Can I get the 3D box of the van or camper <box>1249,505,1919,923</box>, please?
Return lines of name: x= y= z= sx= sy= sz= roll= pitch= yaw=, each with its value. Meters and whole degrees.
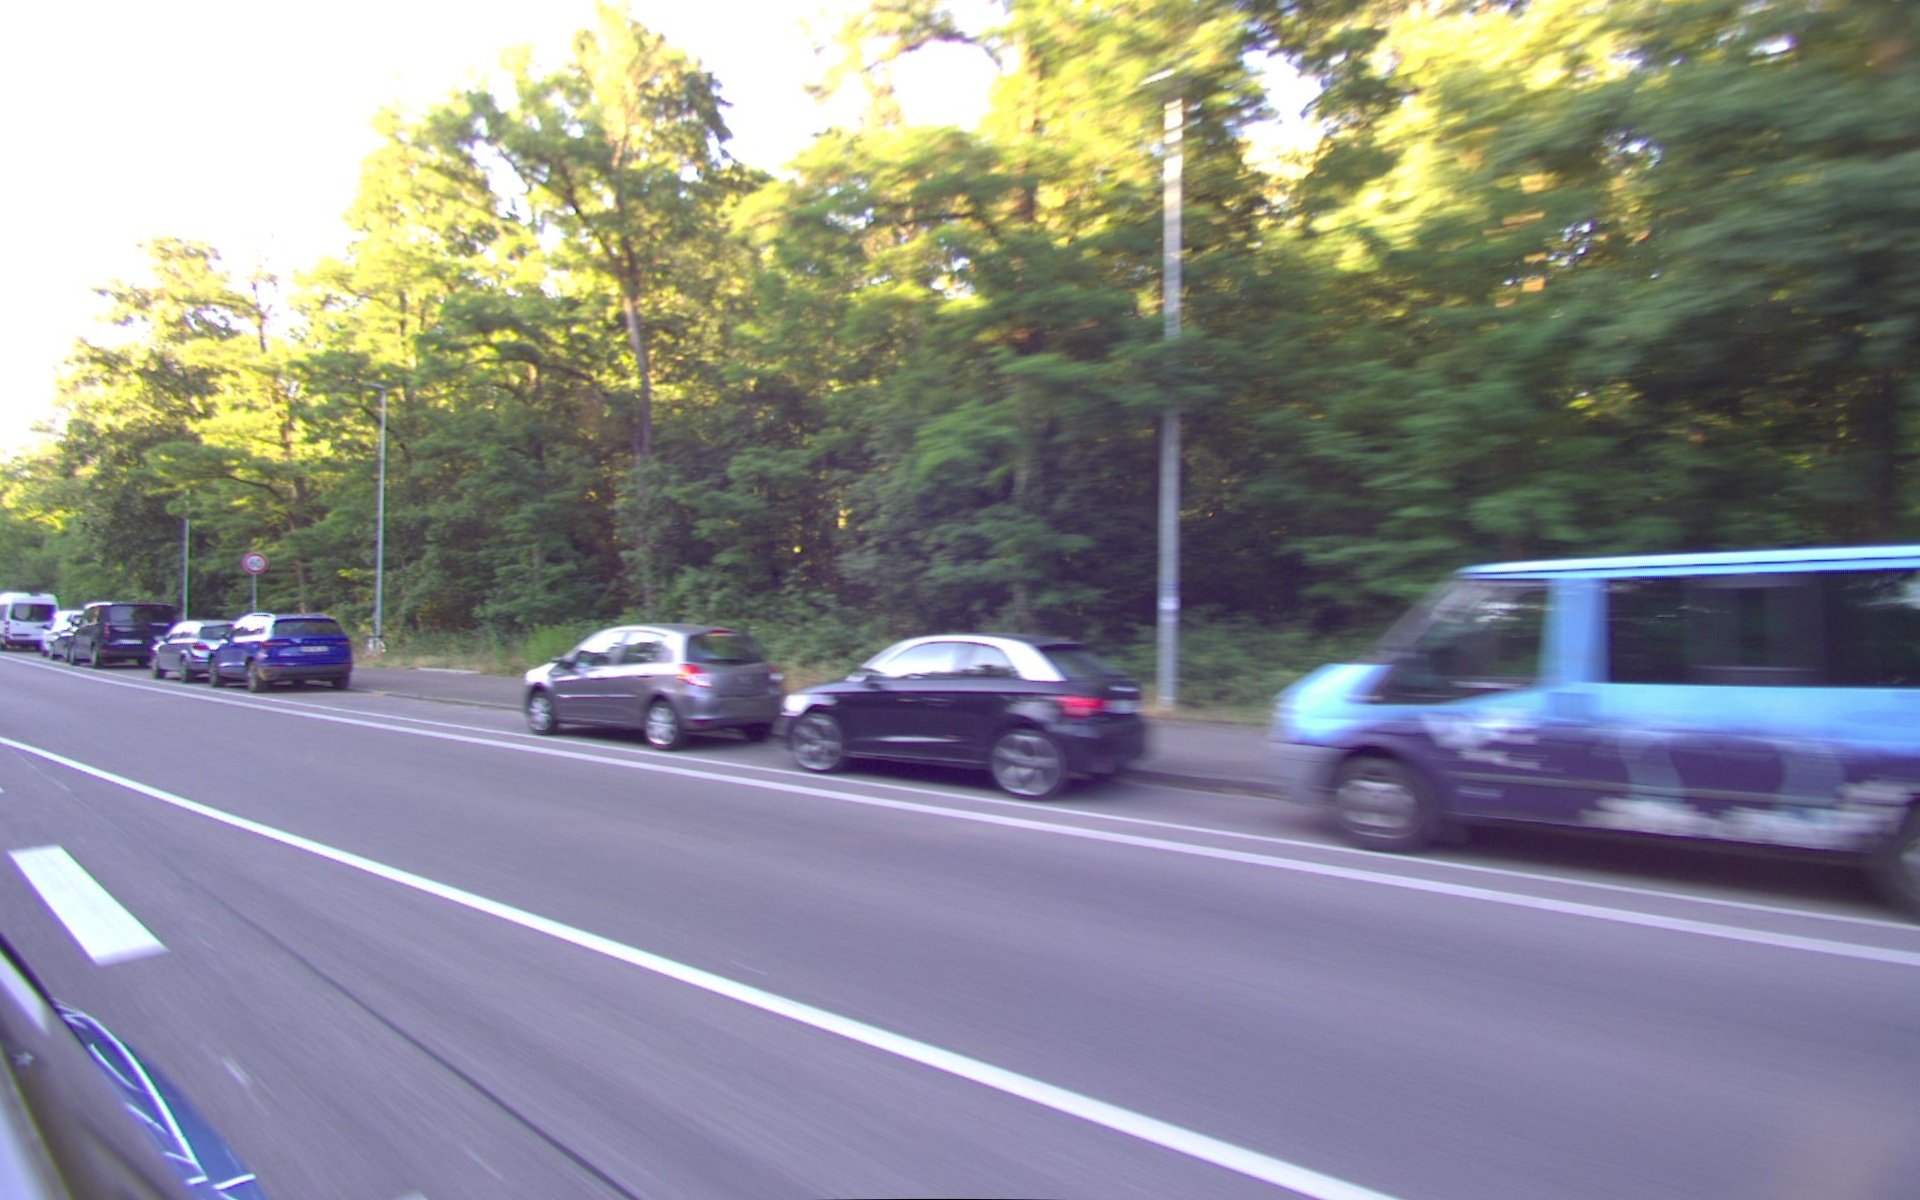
van or camper: x=4.663 y=0.624 z=6.553 sx=5.006 sy=2.110 sz=2.012 roll=-1 pitch=-3 yaw=38

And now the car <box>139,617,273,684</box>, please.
car: x=-18.717 y=1.217 z=25.060 sx=4.242 sy=1.513 sz=1.652 roll=-1 pitch=-3 yaw=39

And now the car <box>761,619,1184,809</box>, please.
car: x=0.018 y=0.962 z=9.872 sx=3.963 sy=1.505 sz=1.529 roll=-1 pitch=-3 yaw=35

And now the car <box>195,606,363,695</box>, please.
car: x=-14.698 y=1.052 z=21.746 sx=4.518 sy=1.725 sz=1.727 roll=-1 pitch=-3 yaw=39

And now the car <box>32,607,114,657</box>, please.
car: x=-34.839 y=1.227 z=39.700 sx=4.381 sy=1.872 sz=1.671 roll=-1 pitch=-1 yaw=38

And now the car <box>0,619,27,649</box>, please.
car: x=-48.669 y=1.703 z=51.234 sx=4.387 sy=1.441 sz=1.697 roll=-1 pitch=-3 yaw=42

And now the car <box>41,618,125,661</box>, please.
car: x=-31.505 y=1.405 z=36.309 sx=4.445 sy=1.444 sz=1.652 roll=-1 pitch=-3 yaw=41

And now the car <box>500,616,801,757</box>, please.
car: x=-4.059 y=1.010 z=13.026 sx=4.032 sy=1.546 sz=1.602 roll=-1 pitch=-3 yaw=36

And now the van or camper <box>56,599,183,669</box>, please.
van or camper: x=-26.359 y=1.074 z=31.672 sx=5.455 sy=2.033 sz=1.982 roll=-1 pitch=-4 yaw=39

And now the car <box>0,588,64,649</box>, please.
car: x=-44.202 y=0.915 z=47.587 sx=7.085 sy=2.626 sz=2.057 roll=-1 pitch=-4 yaw=41

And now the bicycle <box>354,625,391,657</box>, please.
bicycle: x=-18.344 y=1.269 z=31.571 sx=1.717 sy=0.982 sz=0.448 roll=-1 pitch=-2 yaw=41
